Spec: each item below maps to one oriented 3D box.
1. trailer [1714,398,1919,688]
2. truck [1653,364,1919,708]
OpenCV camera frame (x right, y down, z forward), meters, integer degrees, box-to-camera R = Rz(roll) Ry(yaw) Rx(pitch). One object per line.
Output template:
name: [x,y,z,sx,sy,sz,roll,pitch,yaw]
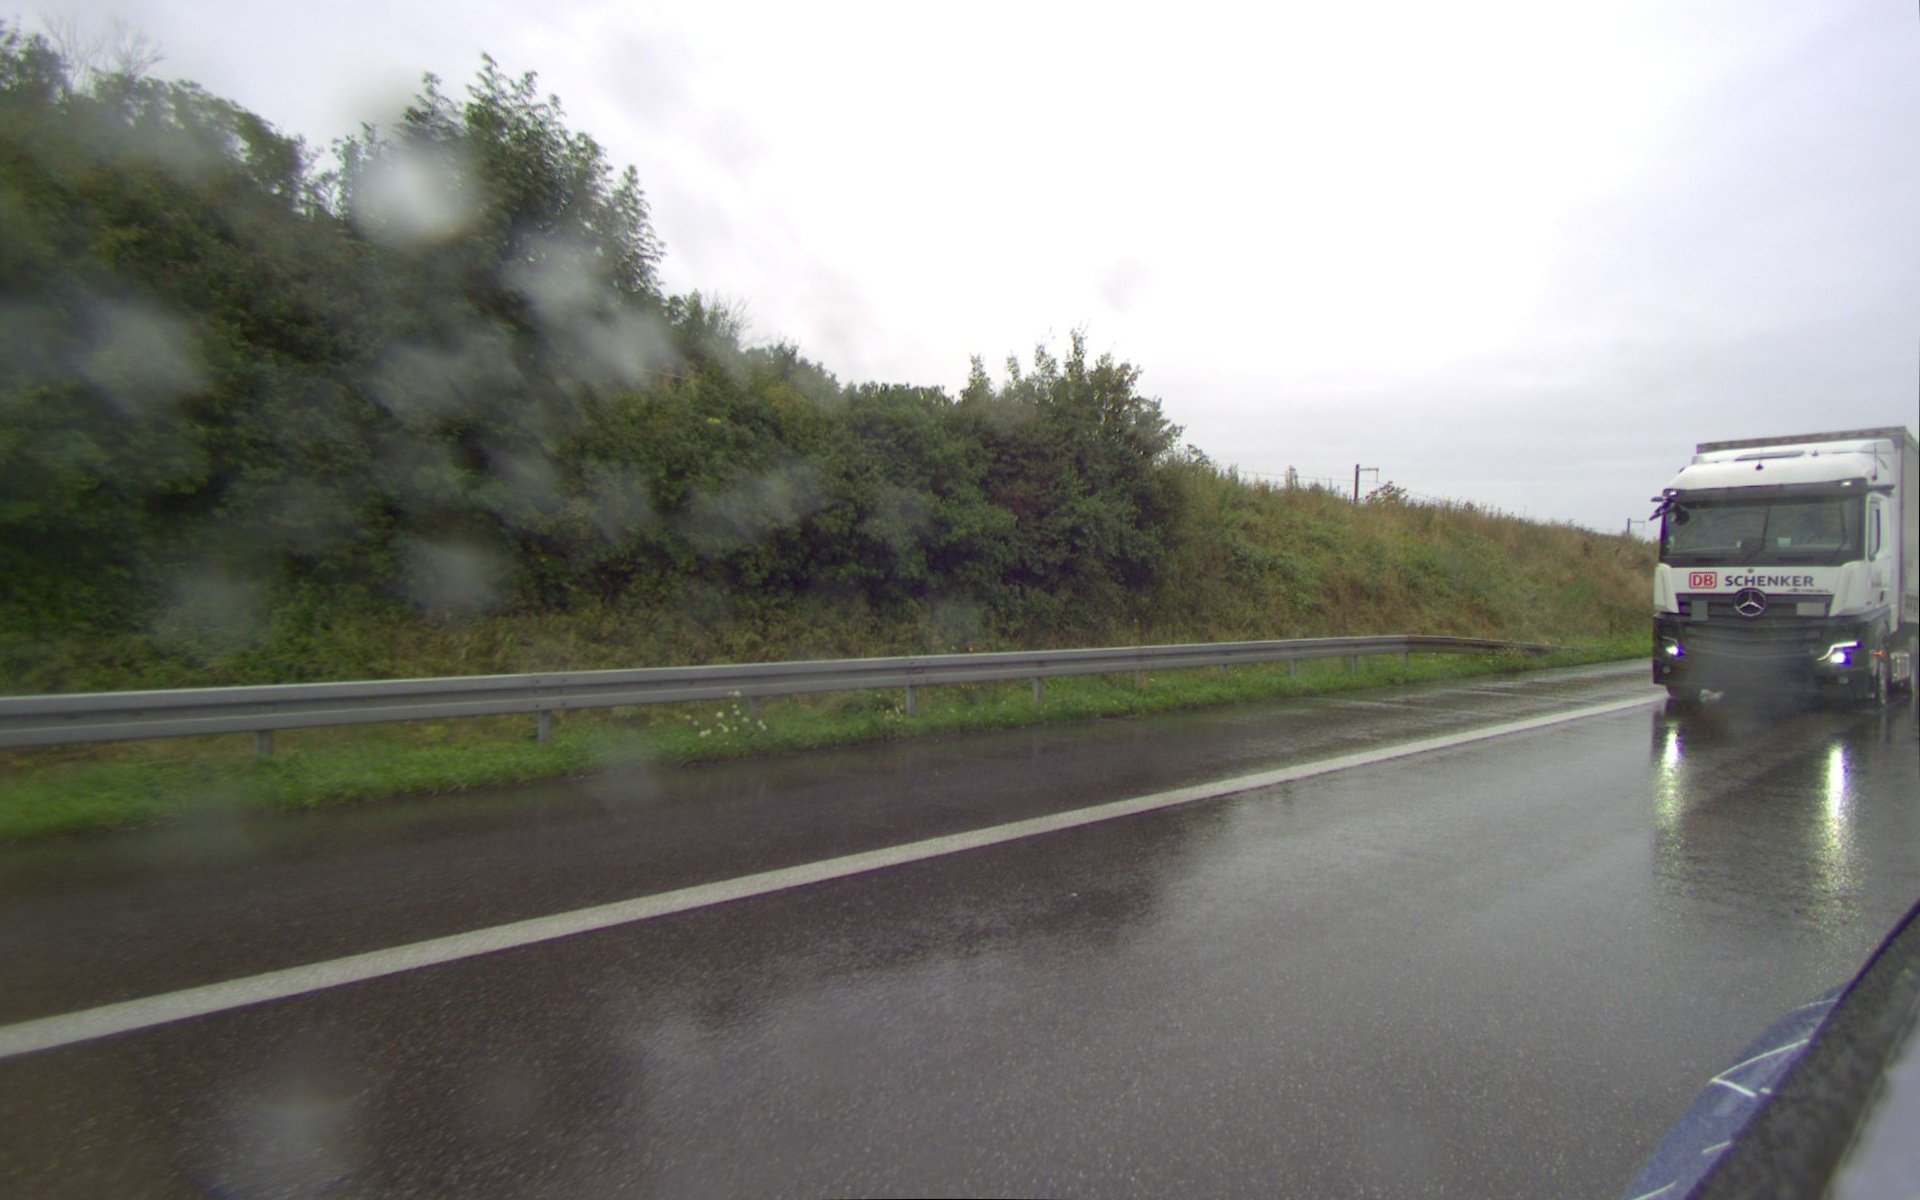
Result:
trailer: [18.709,-0.901,20.524,13.929,4.302,2.631,0,0,-41]
truck: [12.751,-0.831,15.311,4.956,4.307,2.630,0,0,-42]
